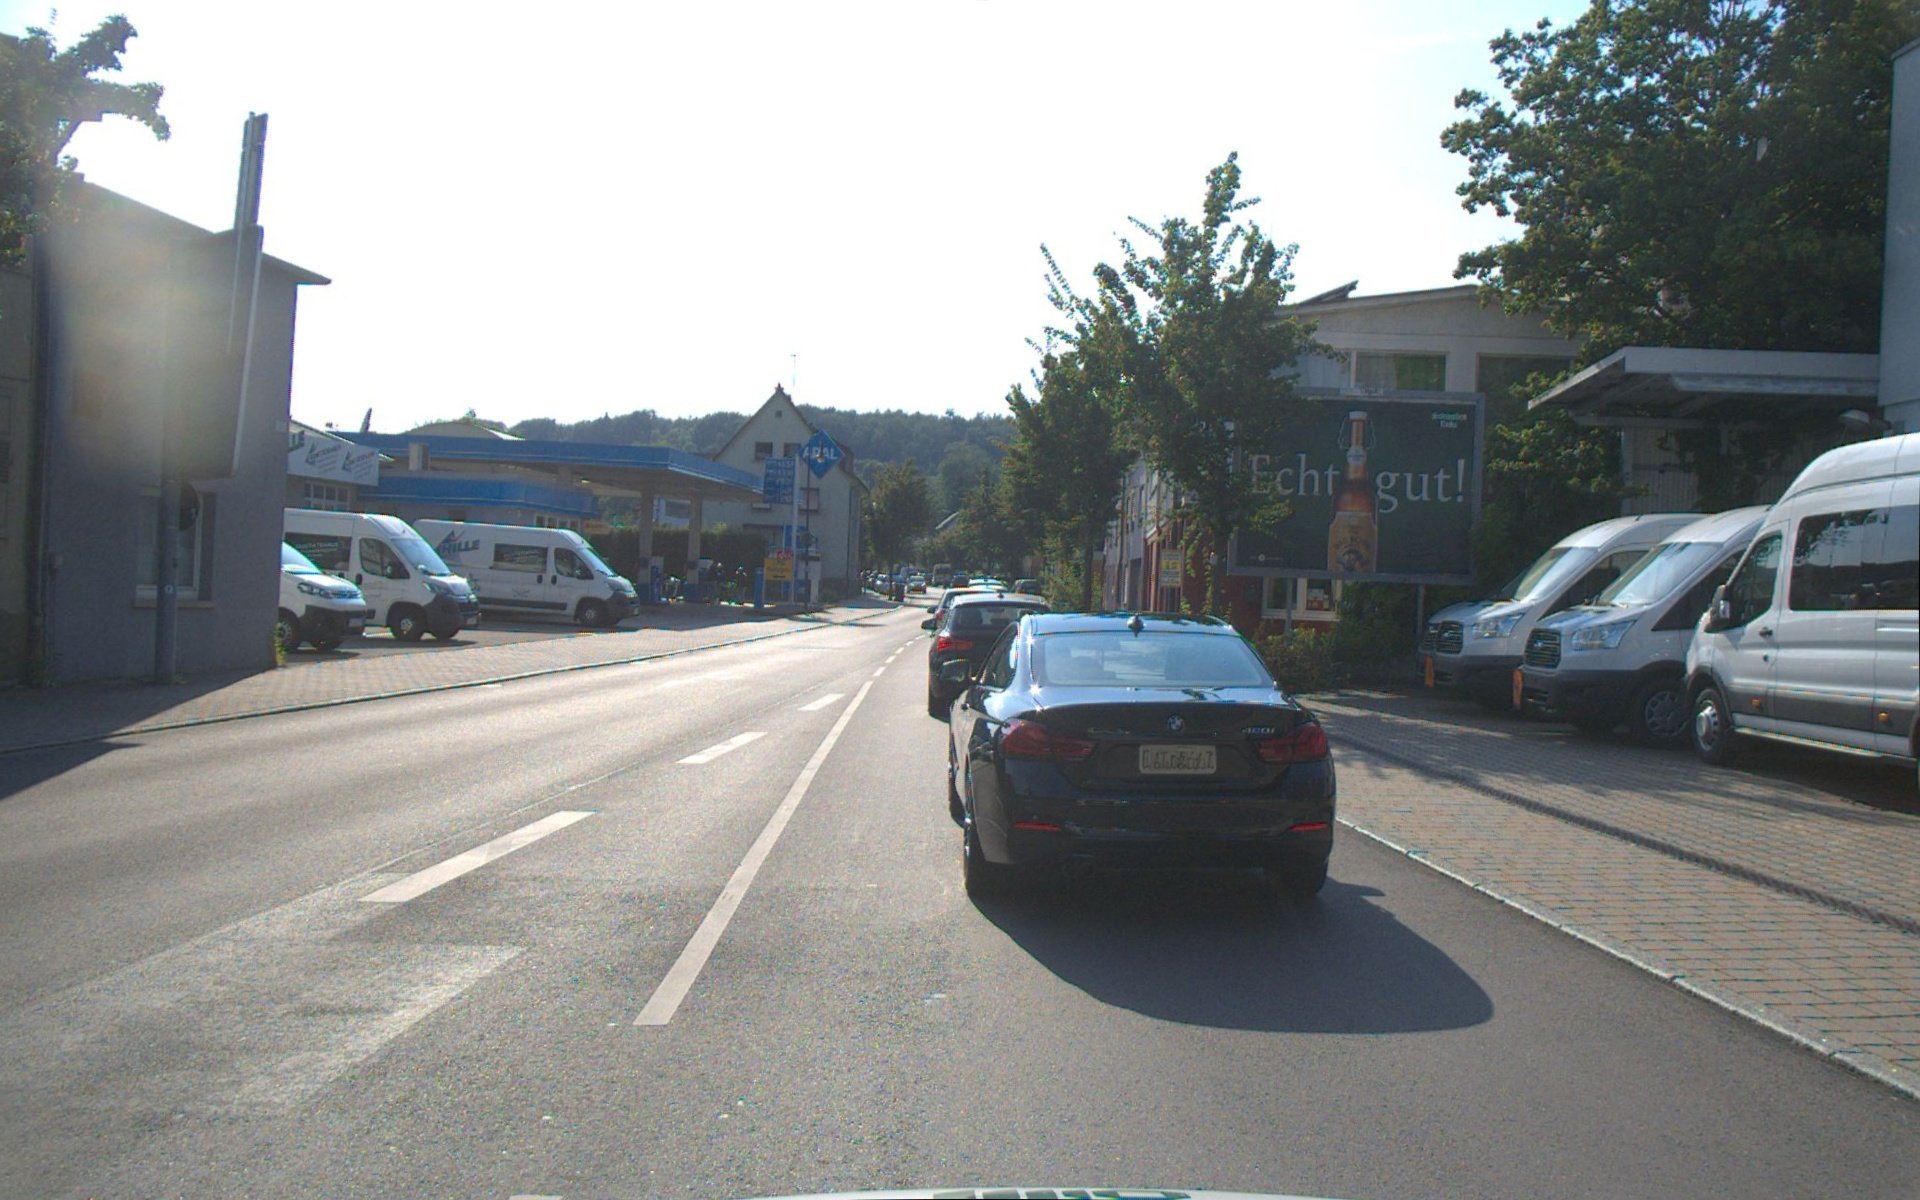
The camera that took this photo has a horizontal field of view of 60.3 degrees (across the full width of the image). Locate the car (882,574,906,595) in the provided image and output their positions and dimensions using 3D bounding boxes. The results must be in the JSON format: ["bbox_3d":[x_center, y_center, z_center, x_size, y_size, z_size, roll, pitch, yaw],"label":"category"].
[{"bbox_3d":[-4.835,-1.146,121.600,1.564,1.511,3.475,2,1,0],"label":"car"}]

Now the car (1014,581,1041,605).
[{"bbox_3d":[4.450,-0.461,108.973,1.564,1.511,3.475,2,1,0],"label":"car"}]

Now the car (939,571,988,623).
[{"bbox_3d":[0.149,-0.141,60.042,1.569,1.798,3.412,1,1,3],"label":"car"}]

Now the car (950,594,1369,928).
[{"bbox_3d":[0.868,0.703,9.386,1.665,1.392,4.260,1,1,-3],"label":"car"}]

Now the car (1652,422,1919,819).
[{"bbox_3d":[7.637,0.145,12.267,2.106,2.727,6.602,1,1,-1],"label":"car"}]

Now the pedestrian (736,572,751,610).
[{"bbox_3d":[-9.749,-0.422,74.630,0.598,1.699,0.442,1,1,-3],"label":"pedestrian"}]

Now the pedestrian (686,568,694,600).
[{"bbox_3d":[-11.993,-0.722,73.440,0.281,1.390,0.263,1,1,-4],"label":"pedestrian"}]

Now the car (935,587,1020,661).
[{"bbox_3d":[0.414,0.469,35.468,1.717,1.438,3.423,1,1,2],"label":"car"}]

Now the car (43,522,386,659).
[{"bbox_3d":[-12.521,-0.172,27.971,4.872,2.034,1.936,3,0,3],"label":"car"}]

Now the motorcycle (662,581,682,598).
[{"bbox_3d":[-13.020,-0.476,74.750,0.449,0.742,1.475,1,1,8],"label":"motorcycle"}]

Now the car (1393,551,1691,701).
[{"bbox_3d":[8.009,0.338,22.950,3.527,1.927,1.586,1,1,-3],"label":"car"}]

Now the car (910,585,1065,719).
[{"bbox_3d":[0.428,0.576,20.670,1.734,1.481,3.517,1,0,4],"label":"car"}]

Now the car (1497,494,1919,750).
[{"bbox_3d":[8.864,0.231,17.114,5.922,2.404,2.043,1,1,-2],"label":"car"}]

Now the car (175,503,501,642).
[{"bbox_3d":[-12.691,-0.581,33.949,5.795,2.523,2.195,2,1,5],"label":"car"}]

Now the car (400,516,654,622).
[{"bbox_3d":[-11.370,-0.809,43.729,6.032,2.487,2.250,2,1,1],"label":"car"}]

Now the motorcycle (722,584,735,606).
[{"bbox_3d":[-10.387,-0.228,74.293,0.356,0.960,1.695,1,1,-1],"label":"motorcycle"}]

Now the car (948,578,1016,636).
[{"bbox_3d":[0.701,0.173,49.139,1.558,1.628,3.896,1,1,7],"label":"car"}]

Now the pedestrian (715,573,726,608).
[{"bbox_3d":[-10.813,-0.414,74.741,0.399,1.574,0.432,1,1,-3],"label":"pedestrian"}]

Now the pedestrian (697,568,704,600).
[{"bbox_3d":[-11.600,-0.722,73.932,0.257,1.407,0.287,1,1,-6],"label":"pedestrian"}]

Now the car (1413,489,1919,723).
[{"bbox_3d":[8.759,0.068,20.067,5.922,2.560,2.043,1,1,-2],"label":"car"}]

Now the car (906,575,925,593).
[{"bbox_3d":[-3.887,-1.381,144.503,1.564,1.511,3.475,2,1,0],"label":"car"}]
